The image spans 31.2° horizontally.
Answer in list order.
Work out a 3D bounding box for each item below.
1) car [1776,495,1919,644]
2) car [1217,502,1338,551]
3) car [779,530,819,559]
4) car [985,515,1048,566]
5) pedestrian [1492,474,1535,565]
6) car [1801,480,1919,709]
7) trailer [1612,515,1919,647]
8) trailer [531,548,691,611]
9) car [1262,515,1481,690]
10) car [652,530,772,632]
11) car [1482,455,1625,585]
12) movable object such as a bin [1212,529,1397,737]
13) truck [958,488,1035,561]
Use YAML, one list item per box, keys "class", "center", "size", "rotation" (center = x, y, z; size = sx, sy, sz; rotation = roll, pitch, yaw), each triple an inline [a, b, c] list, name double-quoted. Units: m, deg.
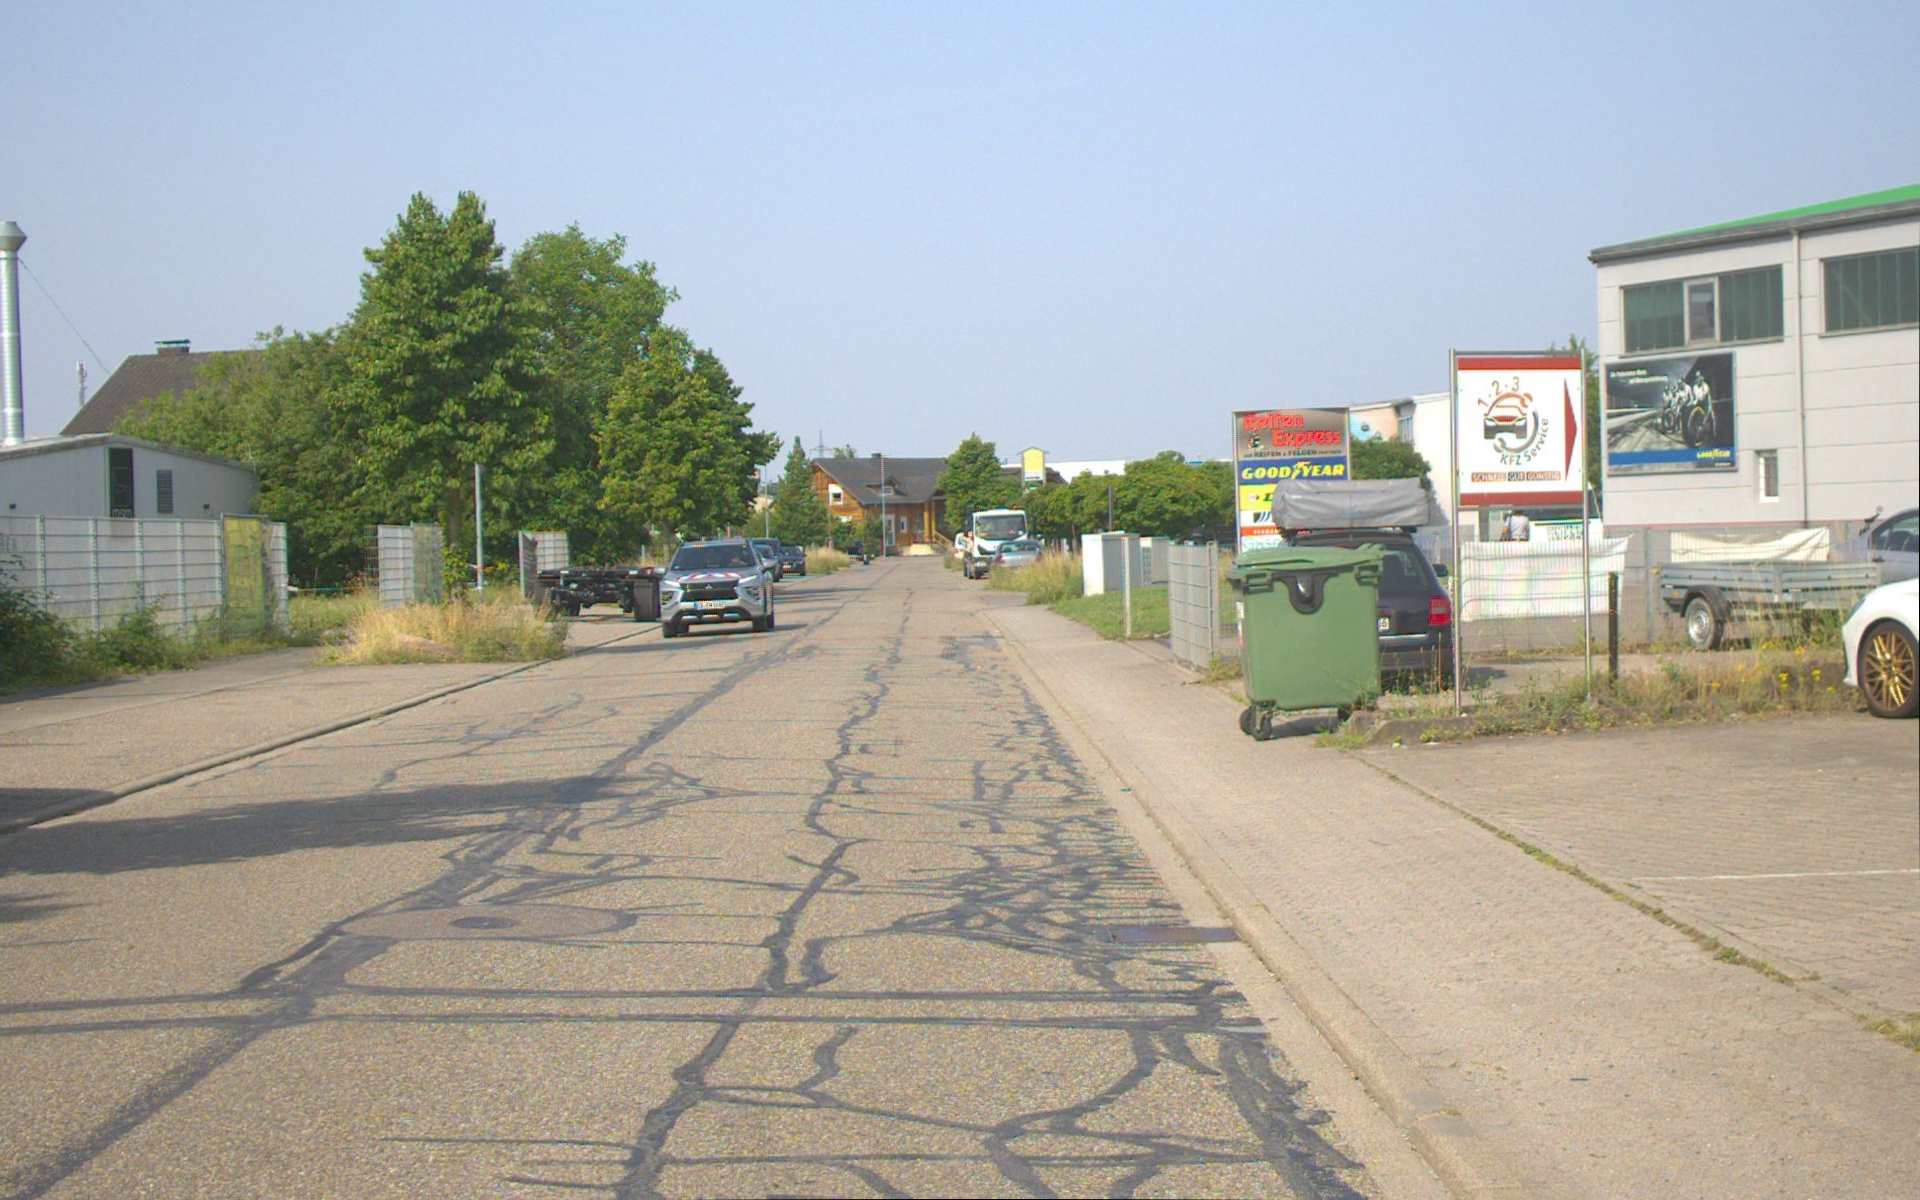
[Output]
- class: "car"
  center: [10.202, -0.333, 34.179]
  size: [1.639, 1.461, 4.462]
  rotation: [-3, 1, -24]
- class: "car"
  center: [11.172, -2.586, 120.779]
  size: [4.522, 1.583, 1.686]
  rotation: [-3, 2, -45]
- class: "car"
  center: [-7.858, -2.706, 168.028]
  size: [1.800, 1.382, 3.638]
  rotation: [0, 1, -1]
- class: "car"
  center: [1.780, -1.891, 108.734]
  size: [1.794, 1.512, 4.424]
  rotation: [-2, 1, -1]
- class: "pedestrian"
  center: [10.059, -1.462, 62.441]
  size: [0.703, 1.634, 0.748]
  rotation: [-2, 1, 11]
- class: "car"
  center: [7.299, -0.062, 21.431]
  size: [1.687, 1.461, 4.263]
  rotation: [-3, 1, -24]
- class: "trailer"
  center: [8.022, -0.210, 34.298]
  size: [1.490, 1.244, 2.978]
  rotation: [-1, 1, -26]
- class: "trailer"
  center: [-7.361, -0.485, 73.525]
  size: [2.582, 1.180, 9.364]
  rotation: [0, 1, -1]
- class: "car"
  center: [3.559, -0.032, 30.338]
  size: [1.674, 1.364, 4.393]
  rotation: [-2, 1, 4]
- class: "car"
  center: [-4.304, -0.364, 60.239]
  size: [1.811, 1.621, 4.250]
  rotation: [-3, 1, -1]
- class: "car"
  center: [13.072, -1.758, 76.081]
  size: [1.974, 2.696, 5.881]
  rotation: [-2, 1, -1]
- class: "movable object such as a bin"
  center: [2.433, 0.214, 24.483]
  size: [1.081, 1.348, 1.506]
  rotation: [-4, 1, 1]
- class: "truck"
  center: [1.352, -2.906, 132.192]
  size: [2.359, 2.672, 6.512]
  rotation: [-2, 1, -4]
